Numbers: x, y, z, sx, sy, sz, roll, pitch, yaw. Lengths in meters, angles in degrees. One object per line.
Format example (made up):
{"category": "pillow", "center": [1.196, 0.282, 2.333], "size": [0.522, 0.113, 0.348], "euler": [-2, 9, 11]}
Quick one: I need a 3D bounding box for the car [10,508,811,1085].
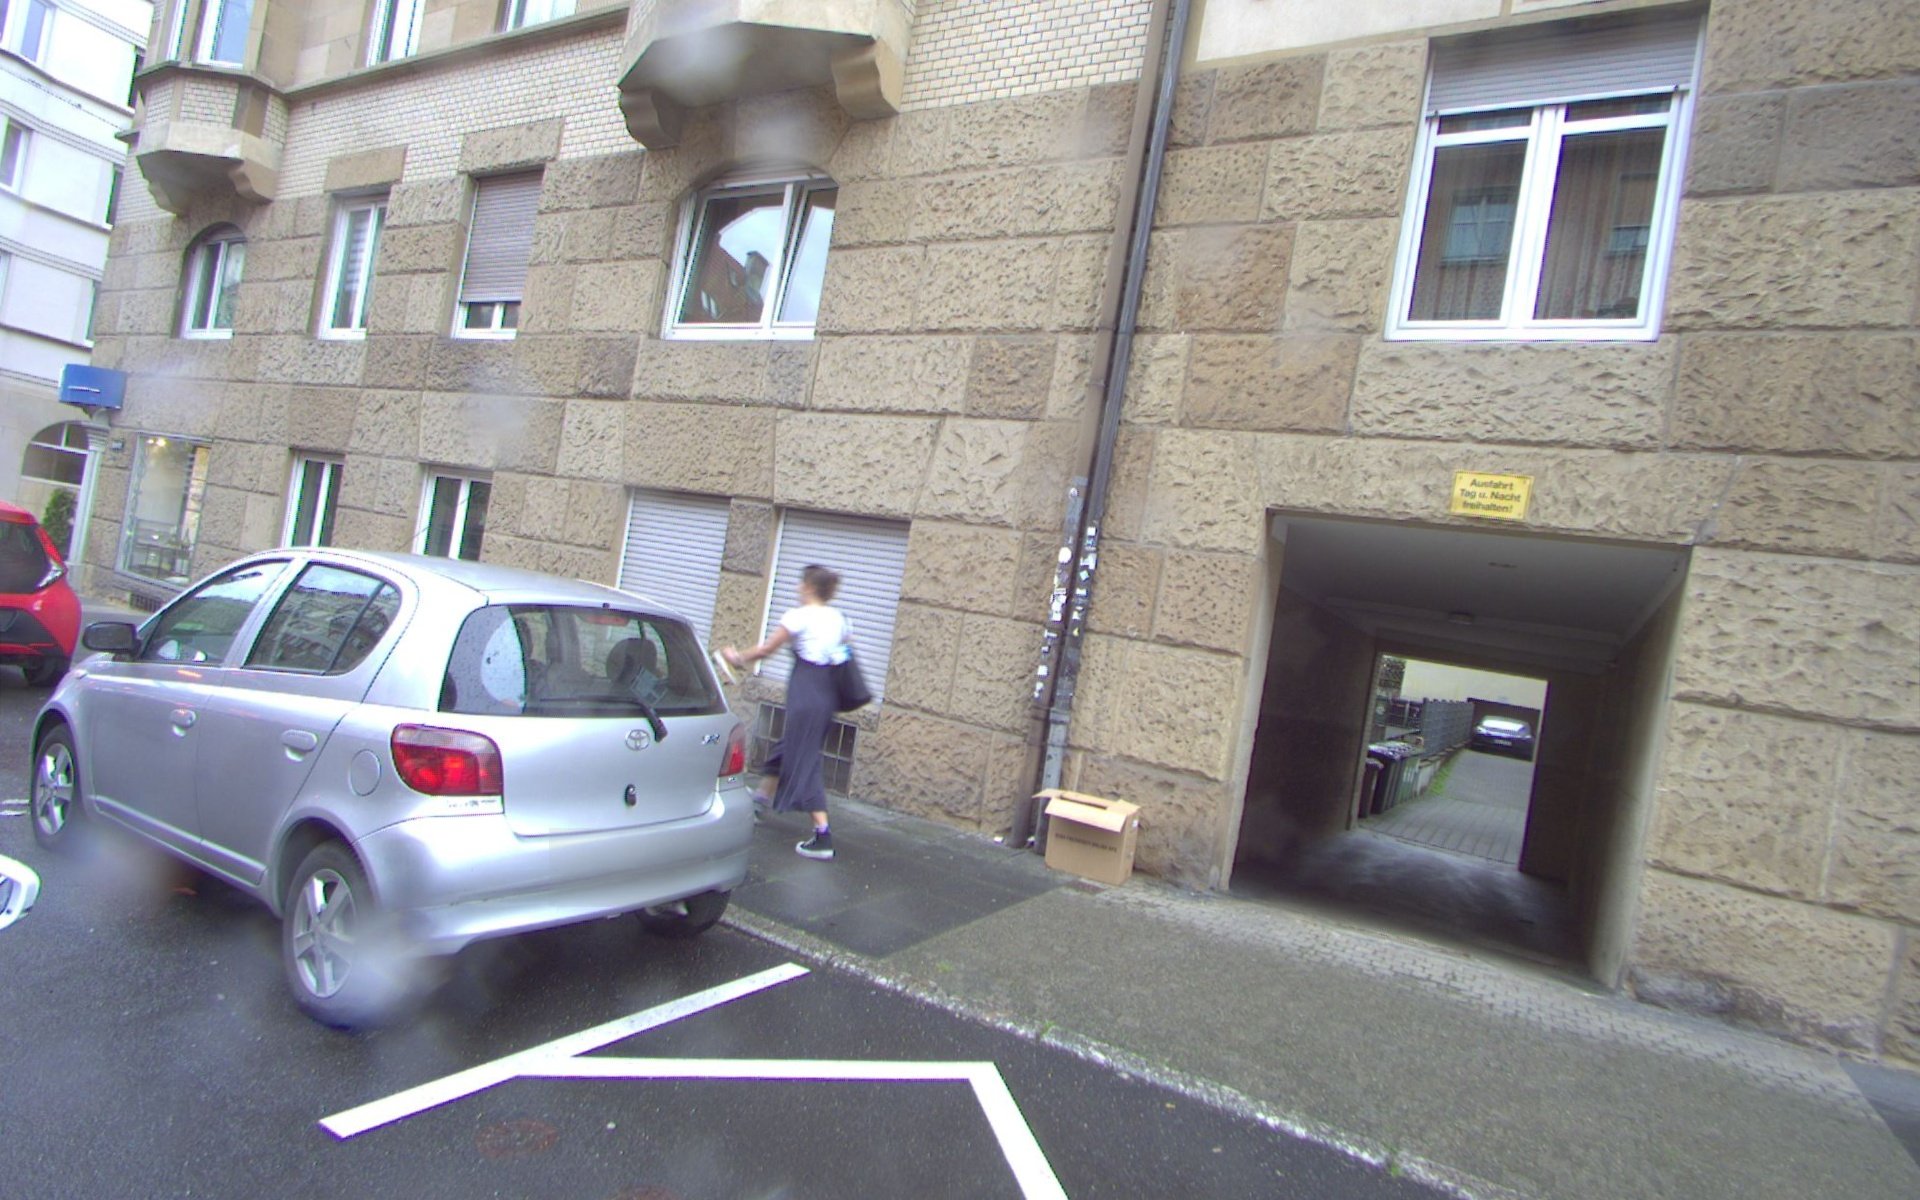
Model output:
{"category": "car", "center": [-2.492, 0.542, 4.412], "size": [3.258, 1.485, 1.616], "euler": [7, 0, 33]}

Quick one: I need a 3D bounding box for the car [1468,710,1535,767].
{"category": "car", "center": [18.332, 4.658, 33.958], "size": [1.693, 1.538, 4.102], "euler": [7, -3, 31]}

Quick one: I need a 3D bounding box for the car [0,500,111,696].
{"category": "car", "center": [-8.741, -0.207, 8.189], "size": [3.243, 1.464, 1.646], "euler": [7, -2, 29]}

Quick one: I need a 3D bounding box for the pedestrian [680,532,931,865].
{"category": "pedestrian", "center": [-0.933, 0.555, 6.103], "size": [1.093, 1.768, 0.743], "euler": [6, -1, 32]}
